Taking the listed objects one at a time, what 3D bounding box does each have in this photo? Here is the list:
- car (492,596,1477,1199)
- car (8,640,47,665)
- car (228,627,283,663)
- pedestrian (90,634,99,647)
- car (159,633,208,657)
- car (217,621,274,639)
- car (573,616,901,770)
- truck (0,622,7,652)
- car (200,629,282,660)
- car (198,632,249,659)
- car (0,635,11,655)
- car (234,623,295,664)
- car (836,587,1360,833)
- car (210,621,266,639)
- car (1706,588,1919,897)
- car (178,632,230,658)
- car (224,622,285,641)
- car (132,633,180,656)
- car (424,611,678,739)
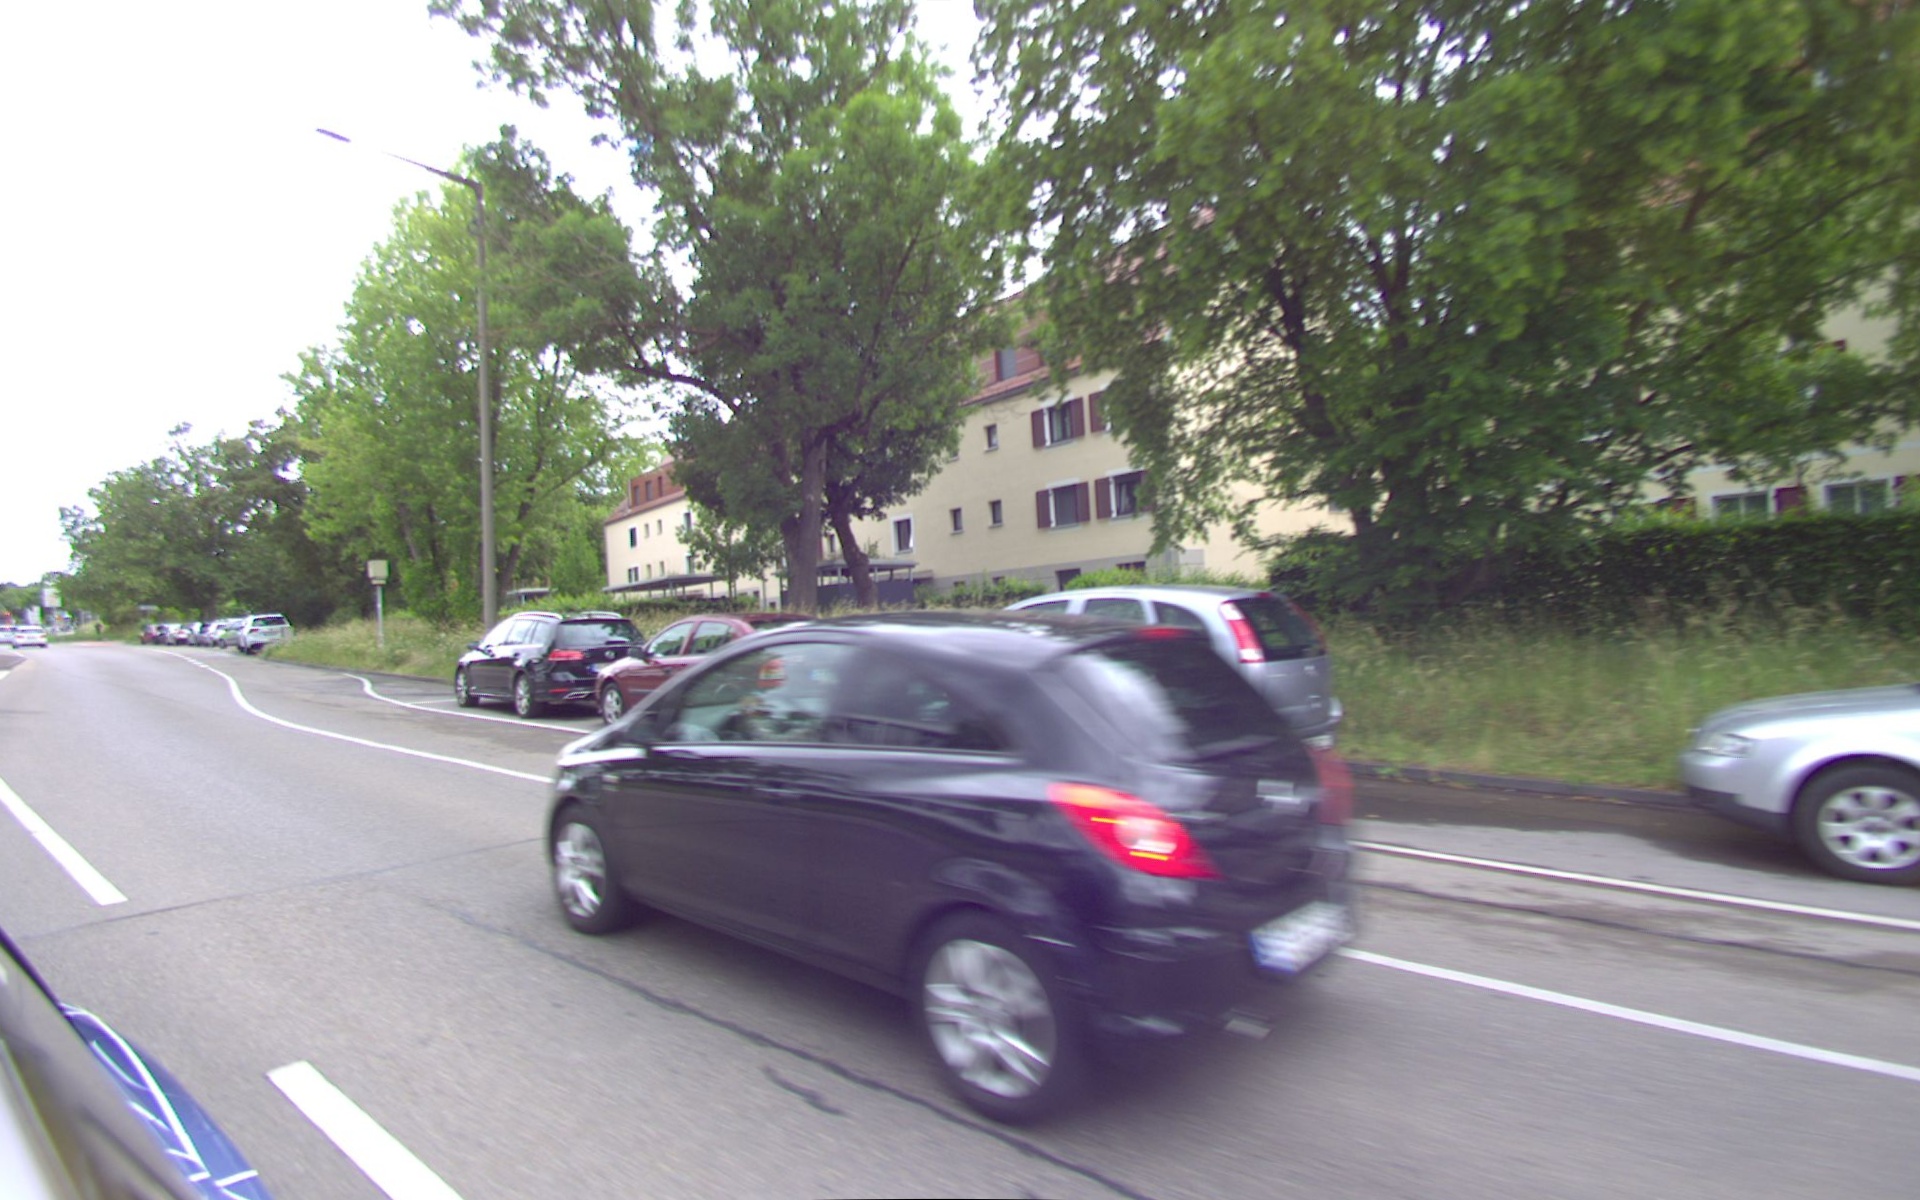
[{"bbox_3d":[-0.266,0.769,4.189,3.999,1.478,1.620,-1,-1,42],"label":"car"},{"bbox_3d":[-67.293,3.742,73.013,4.341,1.582,1.854,-1,1,45],"label":"car"},{"bbox_3d":[-35.192,2.217,50.517,1.852,1.608,4.007,-2,0,-40],"label":"car"},{"bbox_3d":[-103.240,4.839,120.753,0.639,1.458,0.747,-1,1,43],"label":"pedestrian"},{"bbox_3d":[-52.278,3.024,68.100,4.056,1.518,1.855,-2,0,42],"label":"car"},{"bbox_3d":[-83.570,3.485,118.364,1.740,2.029,5.226,-1,-2,43],"label":"car"},{"bbox_3d":[-2.761,0.974,11.930,4.150,1.458,1.748,-2,-1,44],"label":"car"},{"bbox_3d":[-115.531,4.440,120.557,2.791,3.507,7.830,-1,-1,-43],"label":"truck"},{"bbox_3d":[-38.495,2.385,54.198,3.976,1.518,1.866,-2,-1,24],"label":"car"},{"bbox_3d":[-44.415,2.731,61.000,4.002,1.518,1.854,-3,-1,45],"label":"car"},{"bbox_3d":[-93.634,4.401,98.262,4.406,1.783,1.809,-2,0,42],"label":"car"},{"bbox_3d":[-31.498,1.965,45.761,1.852,1.679,4.398,-2,0,-40],"label":"car"},{"bbox_3d":[1.001,0.770,8.651,4.132,1.604,1.750,-2,-1,41],"label":"car"},{"bbox_3d":[-85.856,3.574,120.413,1.739,2.029,5.228,-1,-2,42],"label":"car"},{"bbox_3d":[6.256,0.673,4.668,4.356,1.507,1.749,-2,-2,43],"label":"car"},{"bbox_3d":[-48.081,2.855,64.346,3.999,1.518,1.855,-2,0,42],"label":"car"},{"bbox_3d":[-78.284,3.453,112.289,2.011,2.029,5.228,-1,-2,42],"label":"car"},{"bbox_3d":[-59.547,3.291,74.940,3.881,1.518,1.858,-3,0,36],"label":"car"},{"bbox_3d":[-6.321,1.019,15.323,4.652,1.582,1.854,-2,0,45],"label":"car"}]
